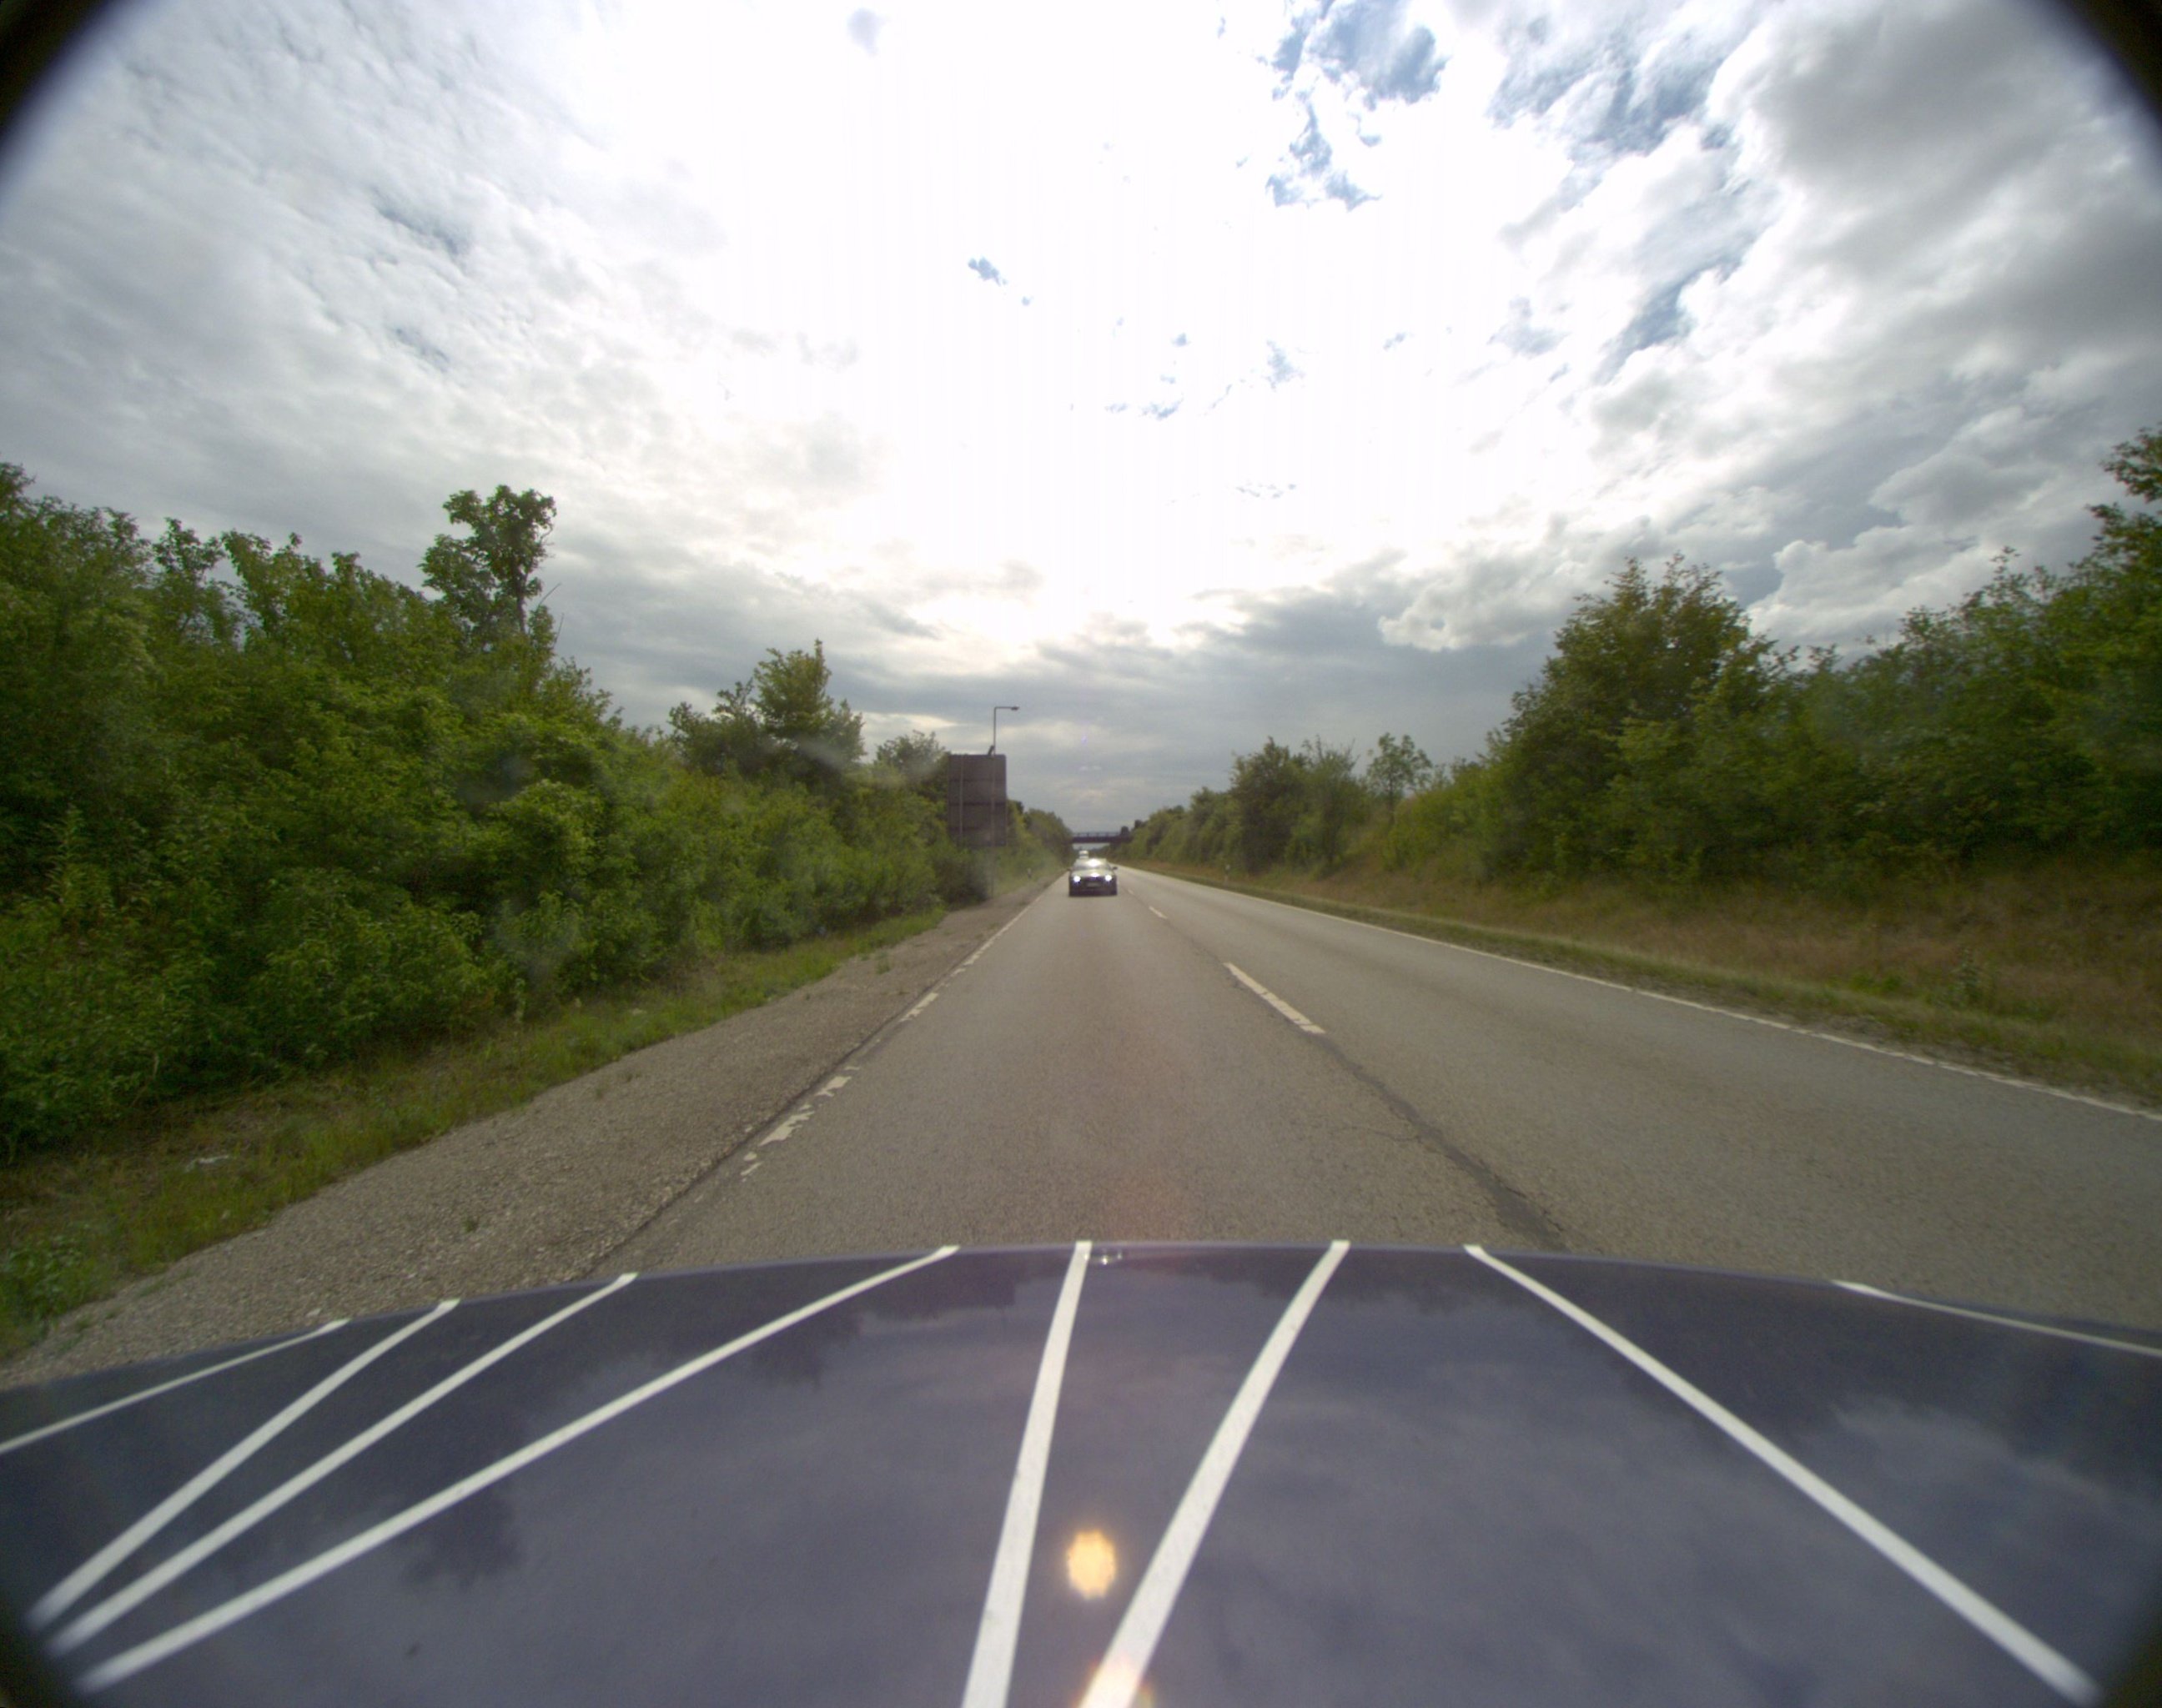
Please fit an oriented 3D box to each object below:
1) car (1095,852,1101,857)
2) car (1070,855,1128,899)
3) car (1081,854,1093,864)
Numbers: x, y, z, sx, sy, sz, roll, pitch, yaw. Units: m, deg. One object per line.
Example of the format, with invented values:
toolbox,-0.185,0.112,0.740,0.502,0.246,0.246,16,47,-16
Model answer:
car,5.843,0.190,265.491,1.833,1.456,4.411,-2,0,0
car,0.649,0.824,29.317,1.998,1.436,4.640,-2,0,0
car,0.916,0.793,120.191,1.870,1.597,4.000,-1,0,0
